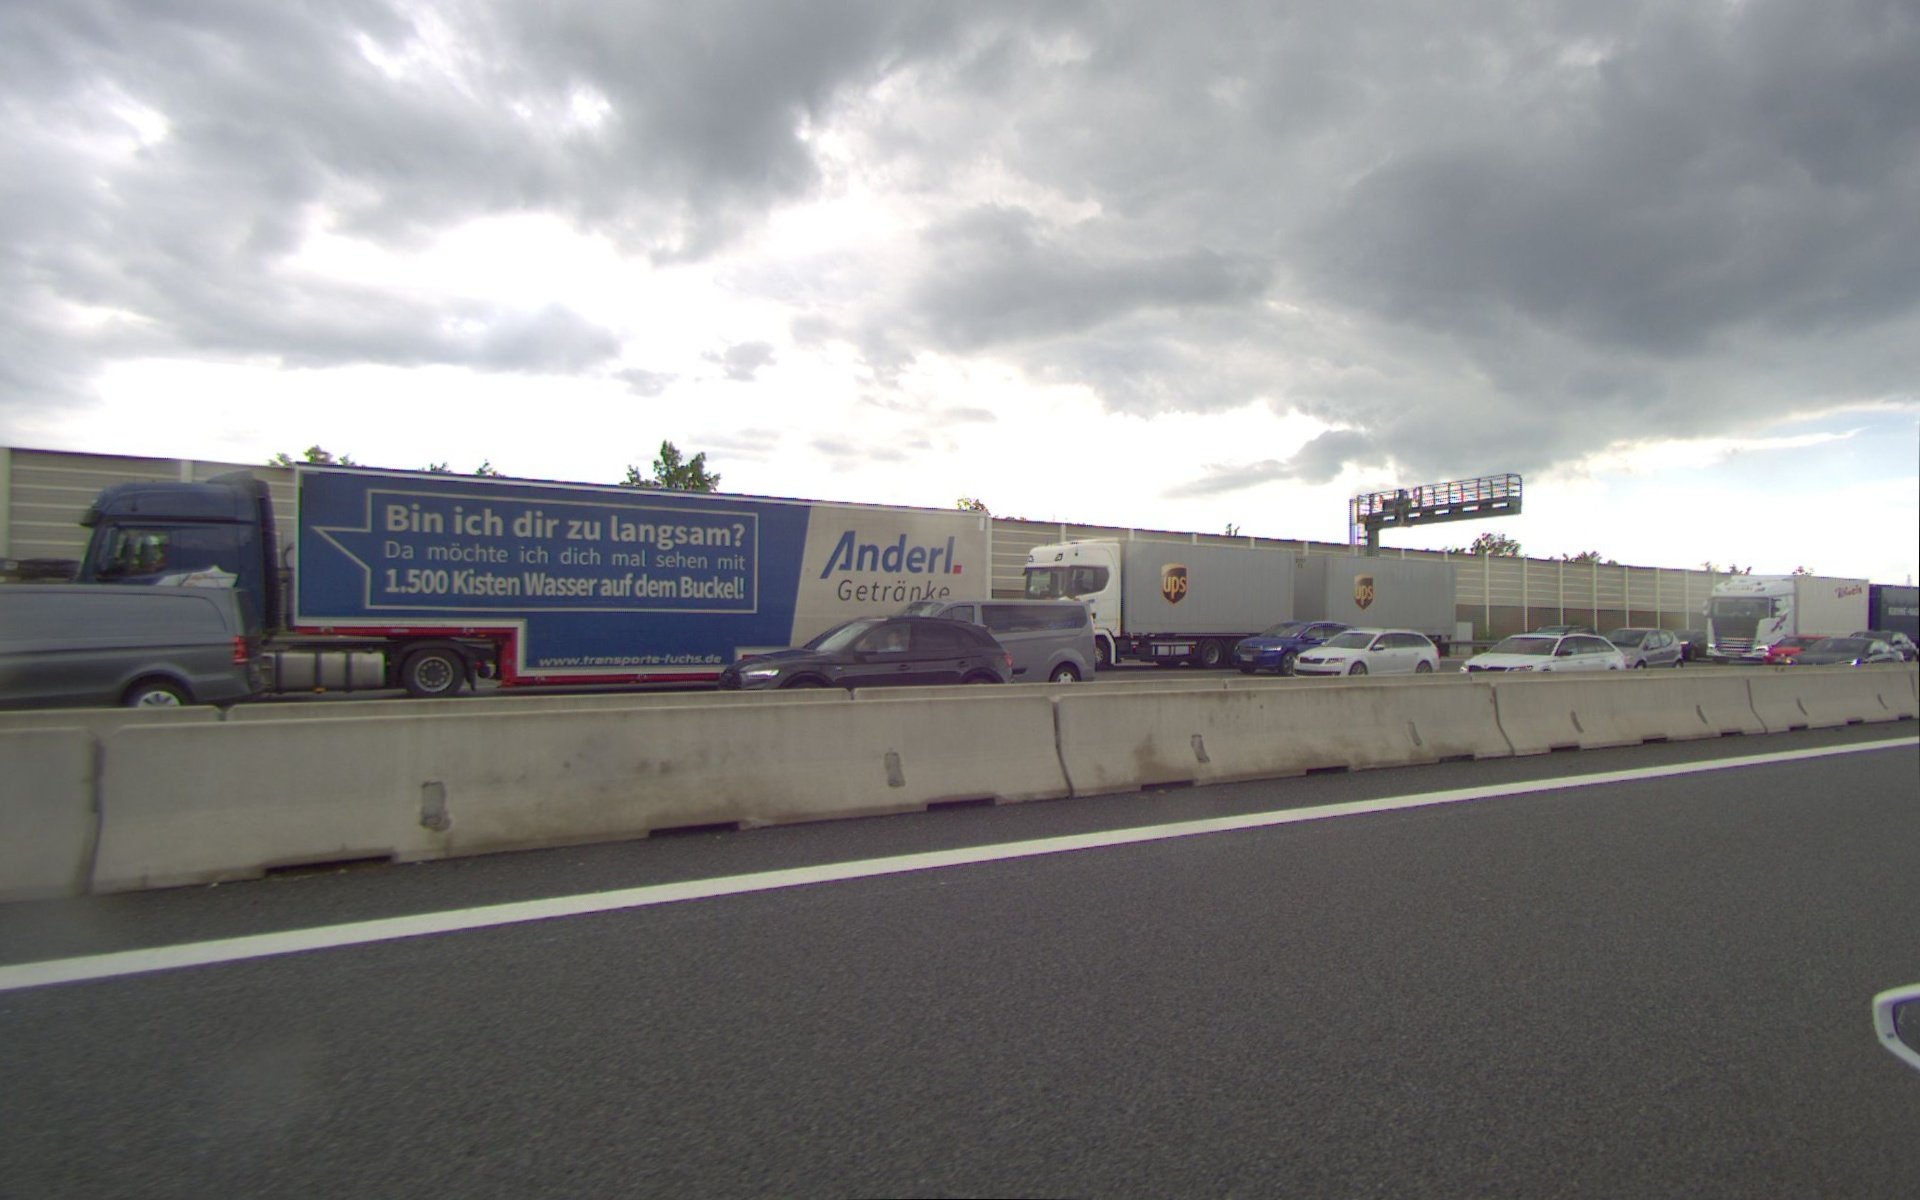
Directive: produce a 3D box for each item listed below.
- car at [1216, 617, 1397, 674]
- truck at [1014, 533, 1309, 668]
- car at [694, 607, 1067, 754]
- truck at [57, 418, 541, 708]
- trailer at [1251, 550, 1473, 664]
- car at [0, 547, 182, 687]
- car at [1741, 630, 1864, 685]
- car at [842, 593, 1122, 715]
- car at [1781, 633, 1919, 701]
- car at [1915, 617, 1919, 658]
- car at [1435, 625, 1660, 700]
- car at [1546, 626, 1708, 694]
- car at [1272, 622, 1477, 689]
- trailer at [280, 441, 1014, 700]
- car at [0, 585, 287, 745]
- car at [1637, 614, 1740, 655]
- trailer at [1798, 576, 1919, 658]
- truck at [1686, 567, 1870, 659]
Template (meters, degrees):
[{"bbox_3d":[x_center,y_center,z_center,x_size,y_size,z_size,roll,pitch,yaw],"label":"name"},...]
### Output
[{"bbox_3d":[10.816,1.395,31.177,5.738,1.621,2.052,1,-1,-30],"label":"car"},{"bbox_3d":[6.857,0.137,33.108,10.376,3.950,2.674,1,-1,-30],"label":"truck"},{"bbox_3d":[-1.119,1.111,15.335,5.367,1.922,1.925,1,-1,-30],"label":"car"},{"bbox_3d":[-11.261,-0.474,17.927,6.614,4.301,3.056,1,-1,-30],"label":"truck"},{"bbox_3d":[15.341,0.341,38.008,9.174,3.923,2.709,1,-1,-30],"label":"trailer"},{"bbox_3d":[-18.169,0.298,18.820,5.367,2.537,1.925,1,-1,-30],"label":"car"},{"bbox_3d":[34.163,2.285,40.686,5.740,2.029,2.051,1,-1,-31],"label":"car"},{"bbox_3d":[0.507,1.033,20.303,5.367,2.187,2.052,1,-1,-30],"label":"car"},{"bbox_3d":[29.439,2.136,33.004,5.742,2.029,2.050,1,-1,-32],"label":"car"},{"bbox_3d":[50.248,1.913,50.298,5.740,2.029,2.051,1,-1,-31],"label":"car"},{"bbox_3d":[14.103,1.438,24.000,5.738,1.585,2.052,1,-1,-30],"label":"car"},{"bbox_3d":[21.881,1.909,32.888,5.738,2.029,2.052,1,-1,-30],"label":"car"},{"bbox_3d":[11.271,1.463,27.203,5.738,1.621,2.052,1,-1,-30],"label":"car"},{"bbox_3d":[-5.629,-0.319,21.197,14.145,4.216,3.044,1,-1,-30],"label":"trailer"},{"bbox_3d":[-12.021,0.786,12.952,5.367,1.922,1.925,1,-1,-30],"label":"car"},{"bbox_3d":[36.341,1.713,50.046,5.740,1.917,2.051,1,-1,-31],"label":"car"},{"bbox_3d":[47.913,0.927,52.515,9.996,3.992,2.918,1,-1,-29],"label":"trailer"},{"bbox_3d":[38.777,0.678,47.447,10.931,3.998,2.925,1,-1,-29],"label":"truck"}]
